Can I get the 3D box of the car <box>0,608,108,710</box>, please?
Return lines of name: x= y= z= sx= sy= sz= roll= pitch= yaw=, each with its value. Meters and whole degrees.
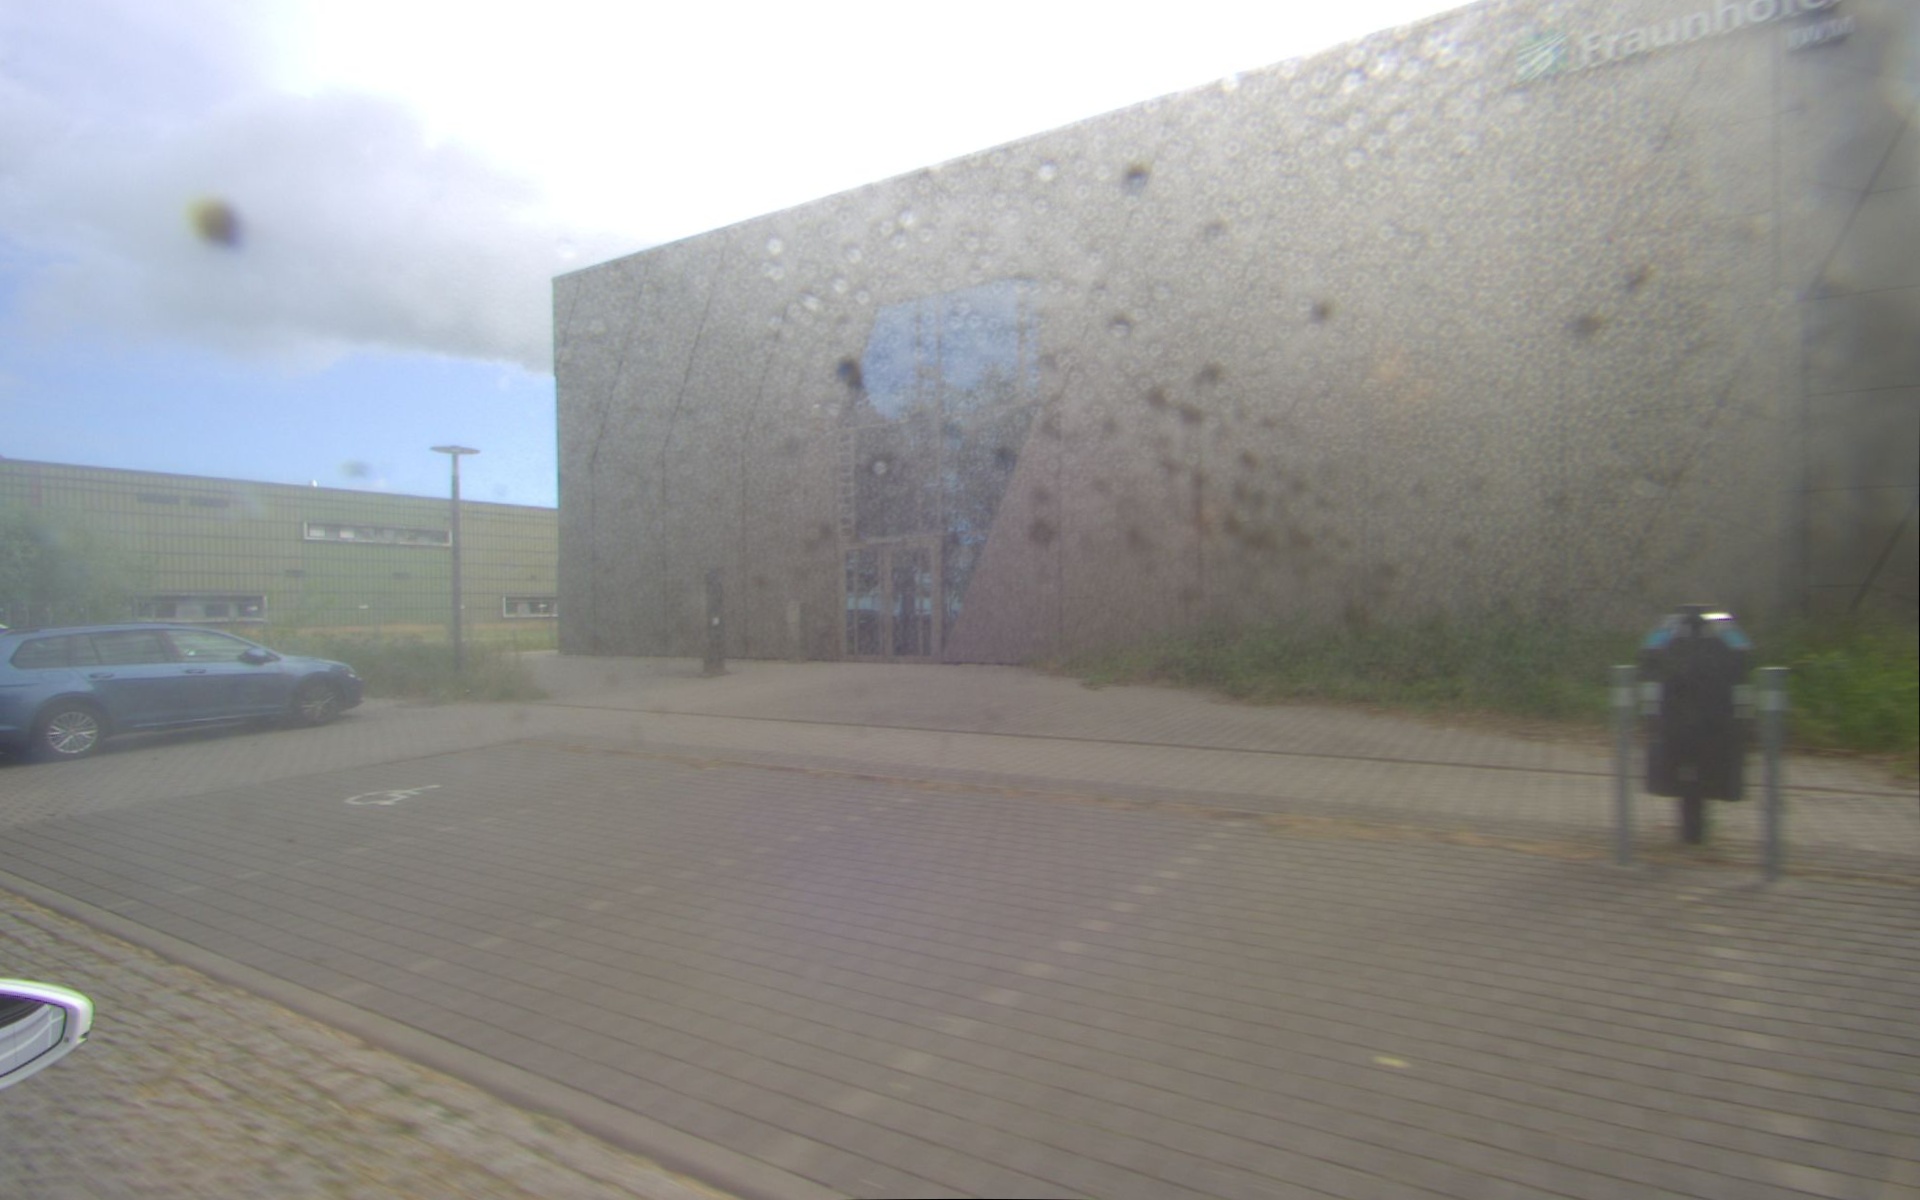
car: x=-16.085 y=0.983 z=16.513 sx=1.630 sy=1.577 sz=2.702 roll=0 pitch=2 yaw=33

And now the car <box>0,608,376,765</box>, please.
car: x=-10.082 y=0.947 z=12.517 sx=1.803 sy=1.495 sz=4.482 roll=0 pitch=2 yaw=29
